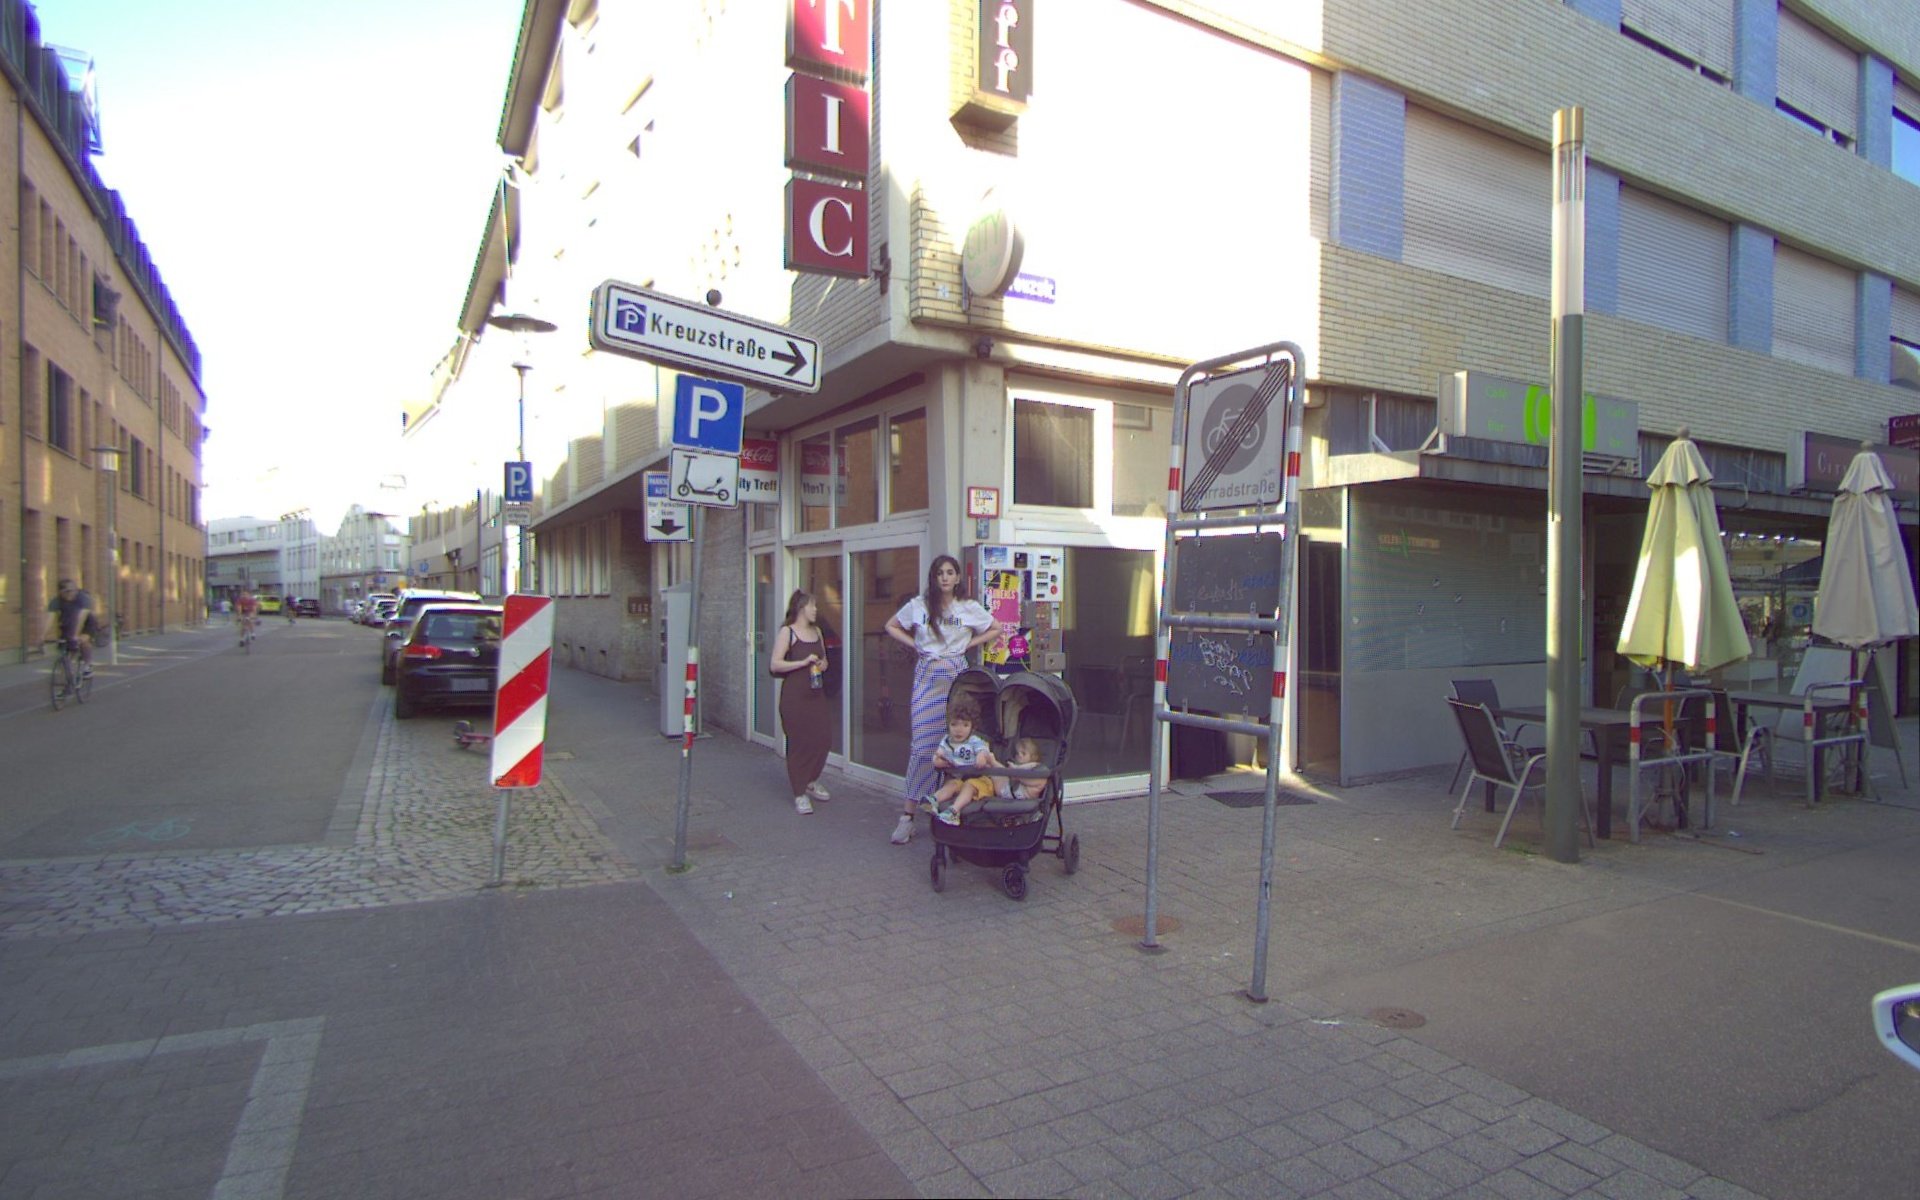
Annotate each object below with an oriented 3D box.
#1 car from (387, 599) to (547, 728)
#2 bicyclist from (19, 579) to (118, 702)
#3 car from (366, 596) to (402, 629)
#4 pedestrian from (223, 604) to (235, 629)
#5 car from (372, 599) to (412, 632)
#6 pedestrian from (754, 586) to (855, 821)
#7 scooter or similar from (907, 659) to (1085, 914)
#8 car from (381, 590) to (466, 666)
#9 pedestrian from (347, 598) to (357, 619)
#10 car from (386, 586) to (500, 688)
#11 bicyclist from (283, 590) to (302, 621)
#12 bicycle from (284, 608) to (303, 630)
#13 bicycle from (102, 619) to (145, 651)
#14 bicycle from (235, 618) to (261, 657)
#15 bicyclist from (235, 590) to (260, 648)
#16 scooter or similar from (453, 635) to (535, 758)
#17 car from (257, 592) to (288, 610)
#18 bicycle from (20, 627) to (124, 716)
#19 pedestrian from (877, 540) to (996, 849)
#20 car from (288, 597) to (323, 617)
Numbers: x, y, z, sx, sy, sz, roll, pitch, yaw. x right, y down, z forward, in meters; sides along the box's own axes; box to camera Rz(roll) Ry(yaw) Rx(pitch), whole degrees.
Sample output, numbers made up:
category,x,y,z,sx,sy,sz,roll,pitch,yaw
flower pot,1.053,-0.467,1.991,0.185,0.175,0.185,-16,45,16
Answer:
category,x,y,z,sx,sy,sz,roll,pitch,yaw
car,-6.986,0.793,14.084,1.720,1.505,3.781,3,-1,-29
bicyclist,-12.055,0.520,13.618,0.641,1.579,1.102,-3,2,-25
car,-33.564,0.716,58.455,1.675,1.798,3.624,3,-1,-31
pedestrian,-45.881,1.028,63.038,0.537,1.565,0.402,1,0,-31
car,-30.347,0.814,53.645,1.675,1.701,3.478,3,-1,-31
pedestrian,-1.128,0.714,7.263,0.527,1.601,0.507,-3,1,-28
scooter or similar,0.228,0.936,5.417,0.783,1.159,0.954,0,1,13
car,-13.369,0.667,24.989,1.654,1.727,3.981,3,-1,-29
pedestrian,-43.353,0.581,71.582,0.566,1.499,0.469,0,0,-37
car,-9.702,0.661,18.750,1.654,1.683,4.049,3,-1,-29
bicyclist,-36.664,0.294,55.181,0.764,1.678,0.949,-3,1,-30
bicycle,-36.634,1.027,55.213,0.697,1.118,1.813,-4,2,-30
bicycle,-25.336,1.044,30.450,0.636,0.893,2.534,1,-1,-32
bicycle,-18.851,0.977,26.606,0.431,0.970,1.578,0,0,-30
bicyclist,-18.834,0.493,26.547,0.423,1.518,0.868,-2,1,-31
scooter or similar,-4.713,0.961,10.144,0.865,1.199,0.208,0,0,21
car,-67.470,0.117,98.520,1.922,1.673,3.788,2,-1,-43
bicycle,-12.056,0.937,13.690,0.566,1.065,1.824,-2,1,-26
pedestrian,-0.139,0.568,6.338,0.647,1.844,0.571,-2,1,0
car,-56.403,0.616,86.600,1.922,1.673,3.788,0,0,-43
